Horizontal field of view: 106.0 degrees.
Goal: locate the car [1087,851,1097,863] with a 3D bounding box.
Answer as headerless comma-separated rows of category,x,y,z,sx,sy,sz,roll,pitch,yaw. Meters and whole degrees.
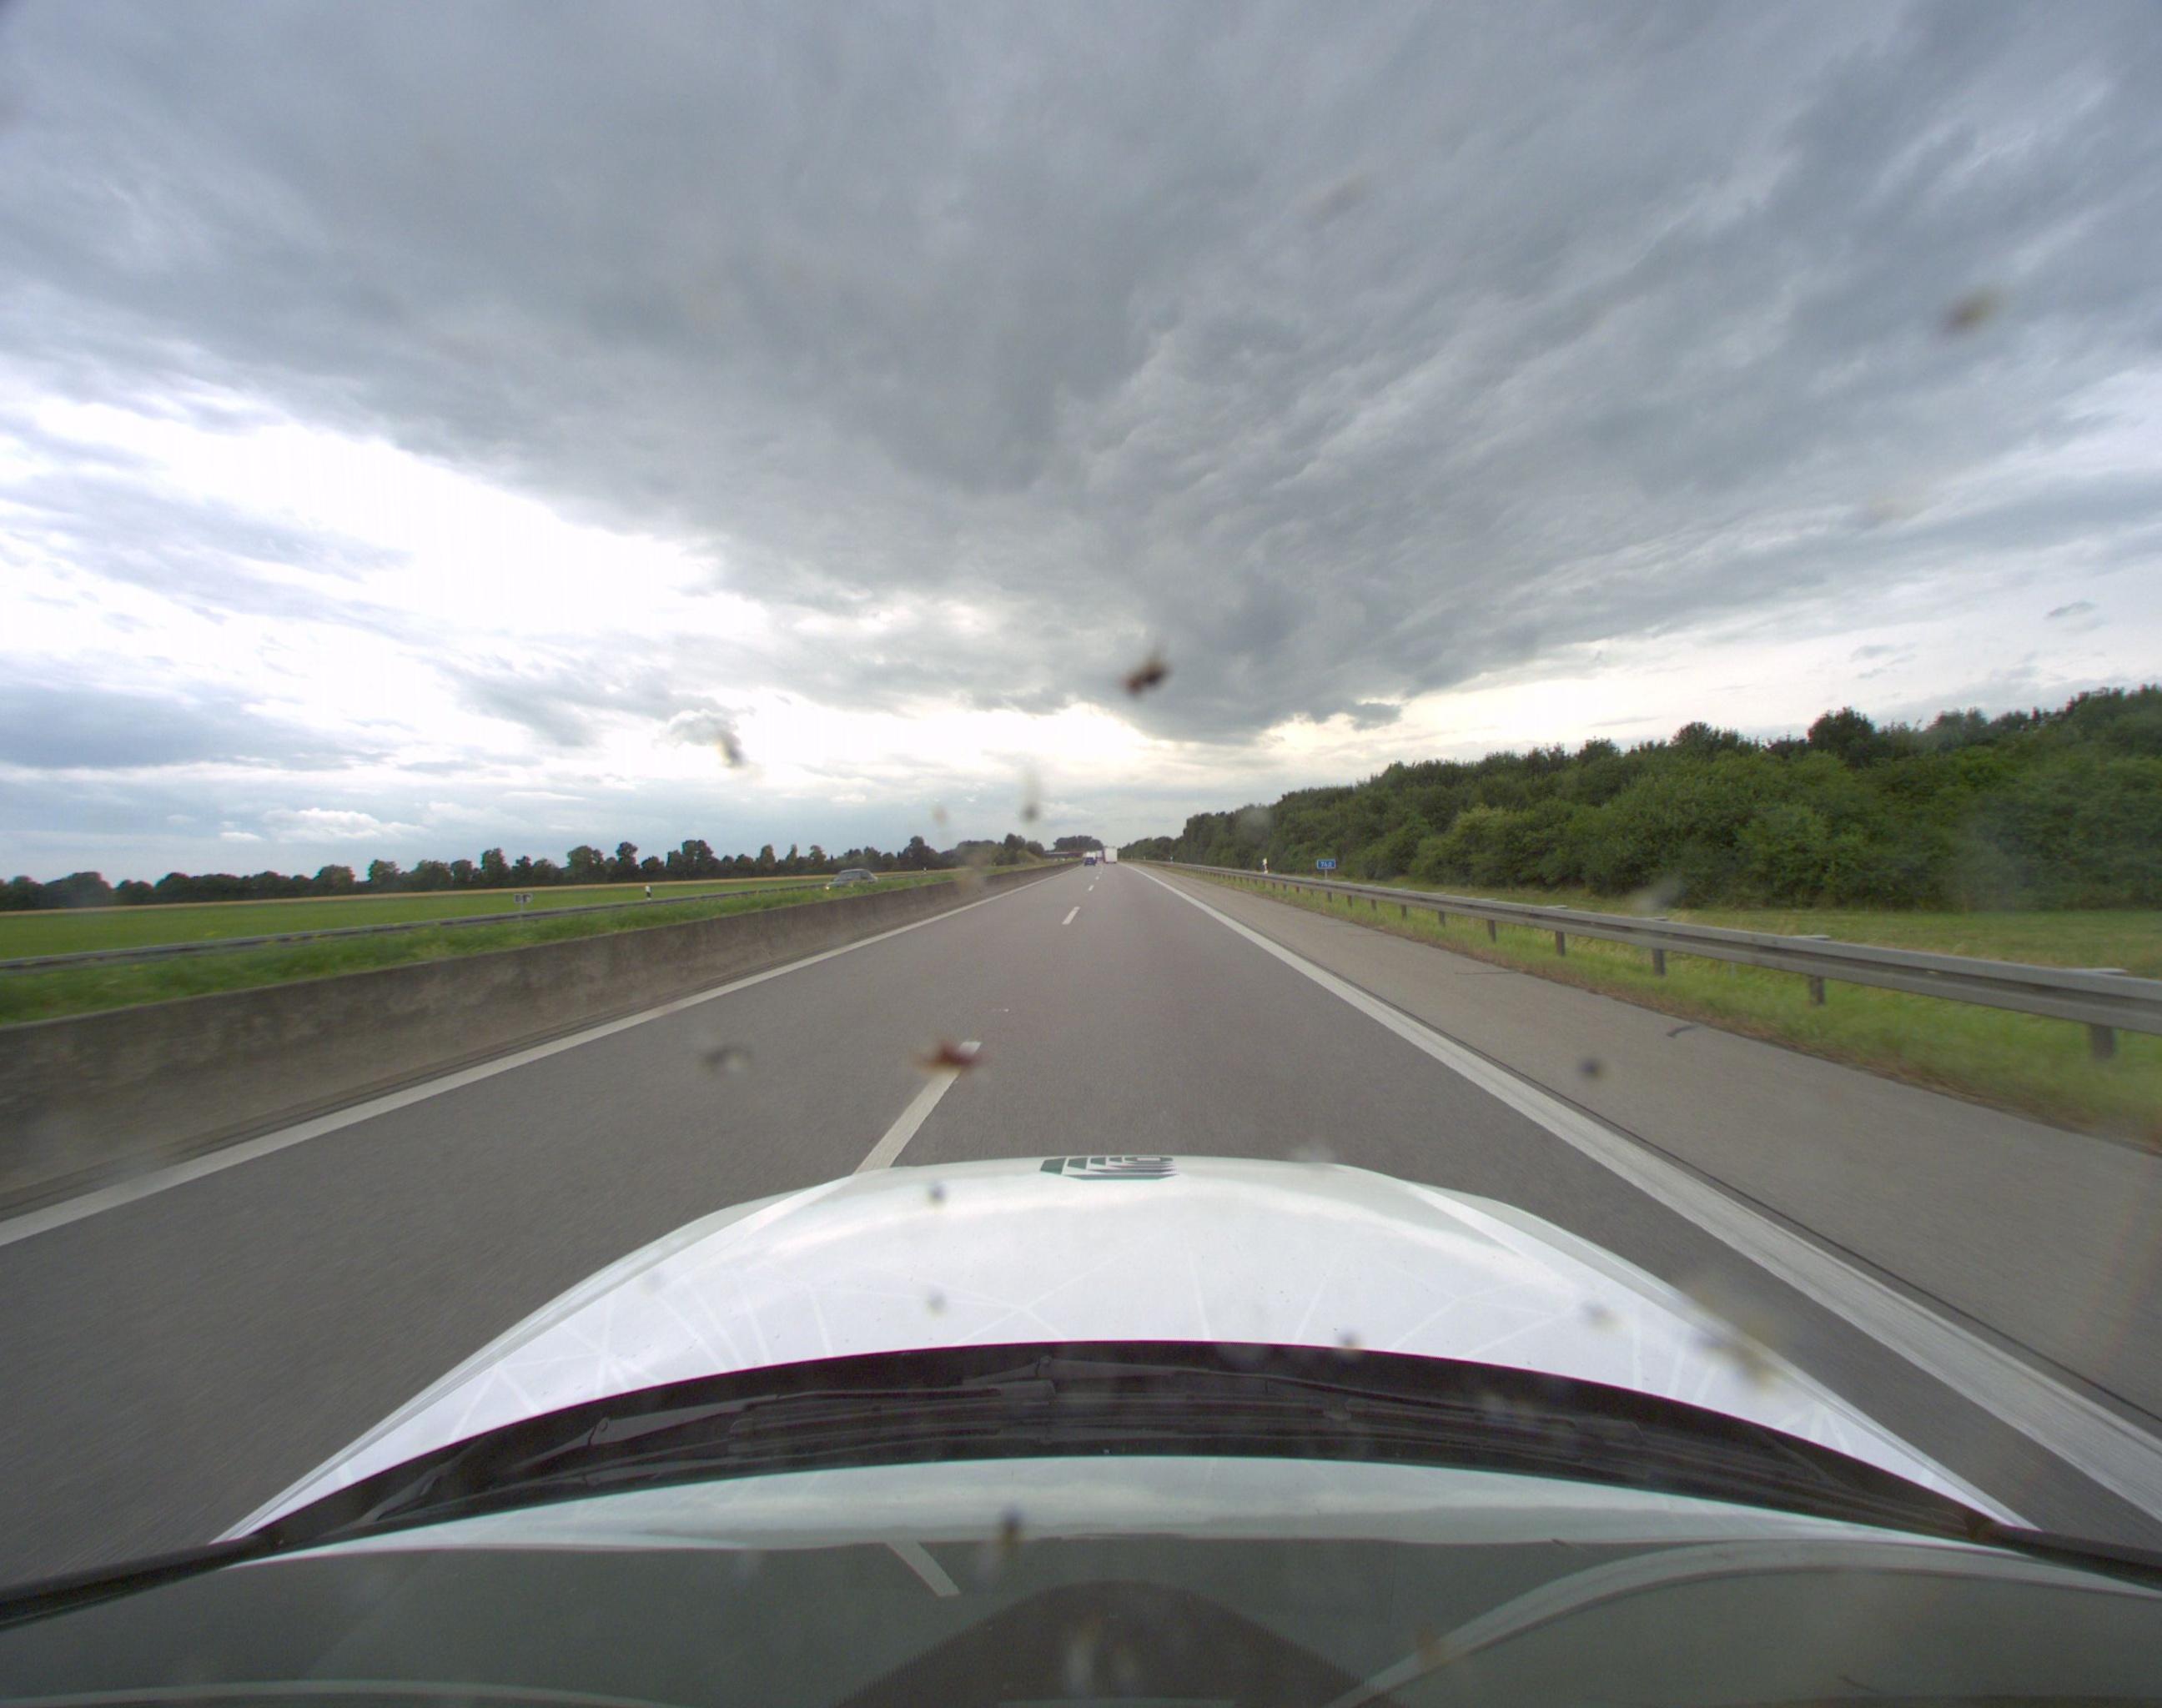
car,2.335,0.613,173.958,2.122,2.483,5.841,-2,-1,1

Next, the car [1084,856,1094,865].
car,1.281,1.027,131.497,1.658,1.407,3.647,-1,0,-1

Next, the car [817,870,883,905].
car,-11.648,1.668,41.398,1.782,1.472,4.906,-4,0,1

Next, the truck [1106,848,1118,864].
truck,6.337,0.422,166.857,2.406,3.222,7.145,-1,-1,1
